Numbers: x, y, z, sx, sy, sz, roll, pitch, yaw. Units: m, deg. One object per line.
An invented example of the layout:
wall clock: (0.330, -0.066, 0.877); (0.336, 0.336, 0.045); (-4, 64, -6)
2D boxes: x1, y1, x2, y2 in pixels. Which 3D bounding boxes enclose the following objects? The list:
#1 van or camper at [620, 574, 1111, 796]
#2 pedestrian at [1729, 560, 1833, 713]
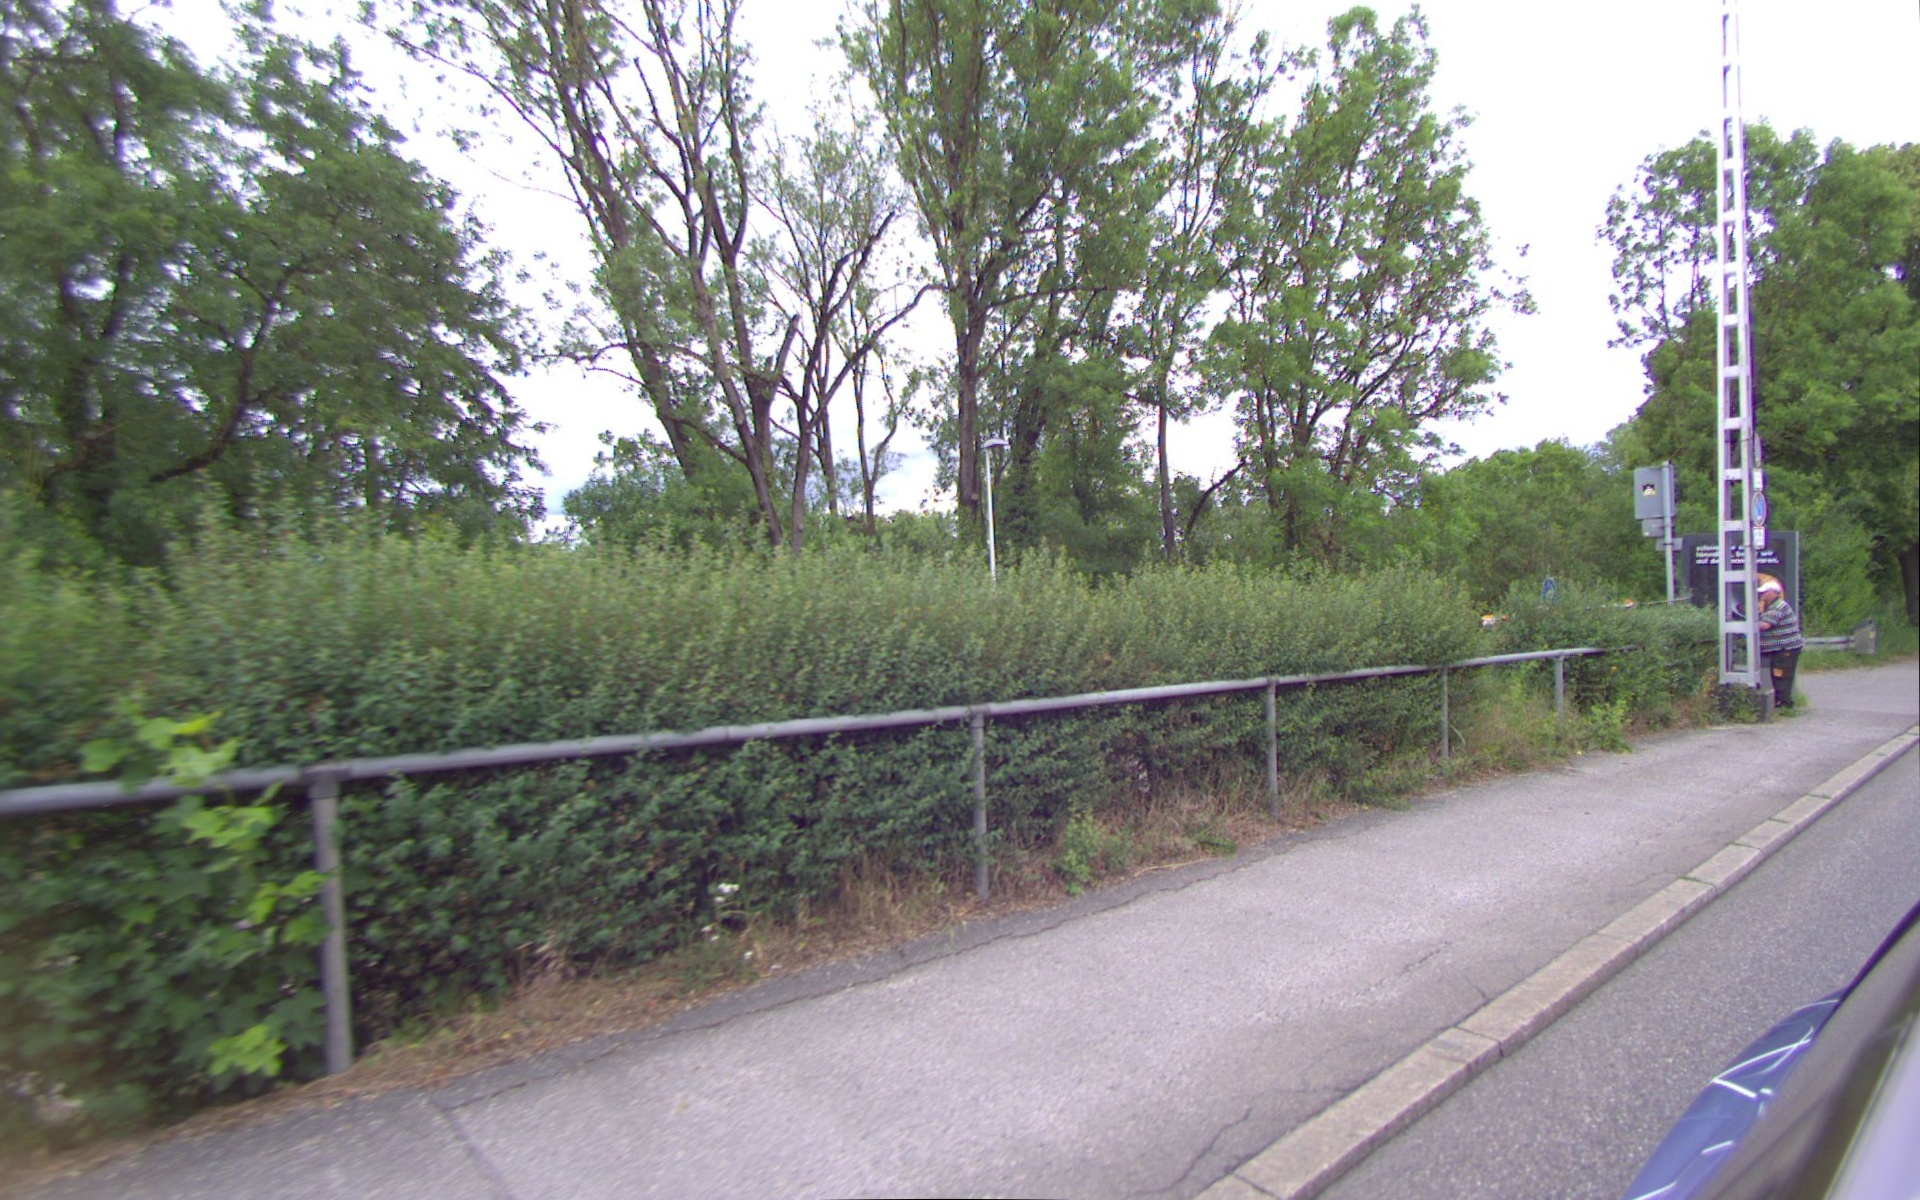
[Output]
van or camper: (-1.117, 0.894, 13.339); (6.055, 2.359, 2.226); (0, 1, -30)
pedestrian: (10.749, 0.447, 13.253); (0.931, 1.908, 0.814); (0, 1, -37)
